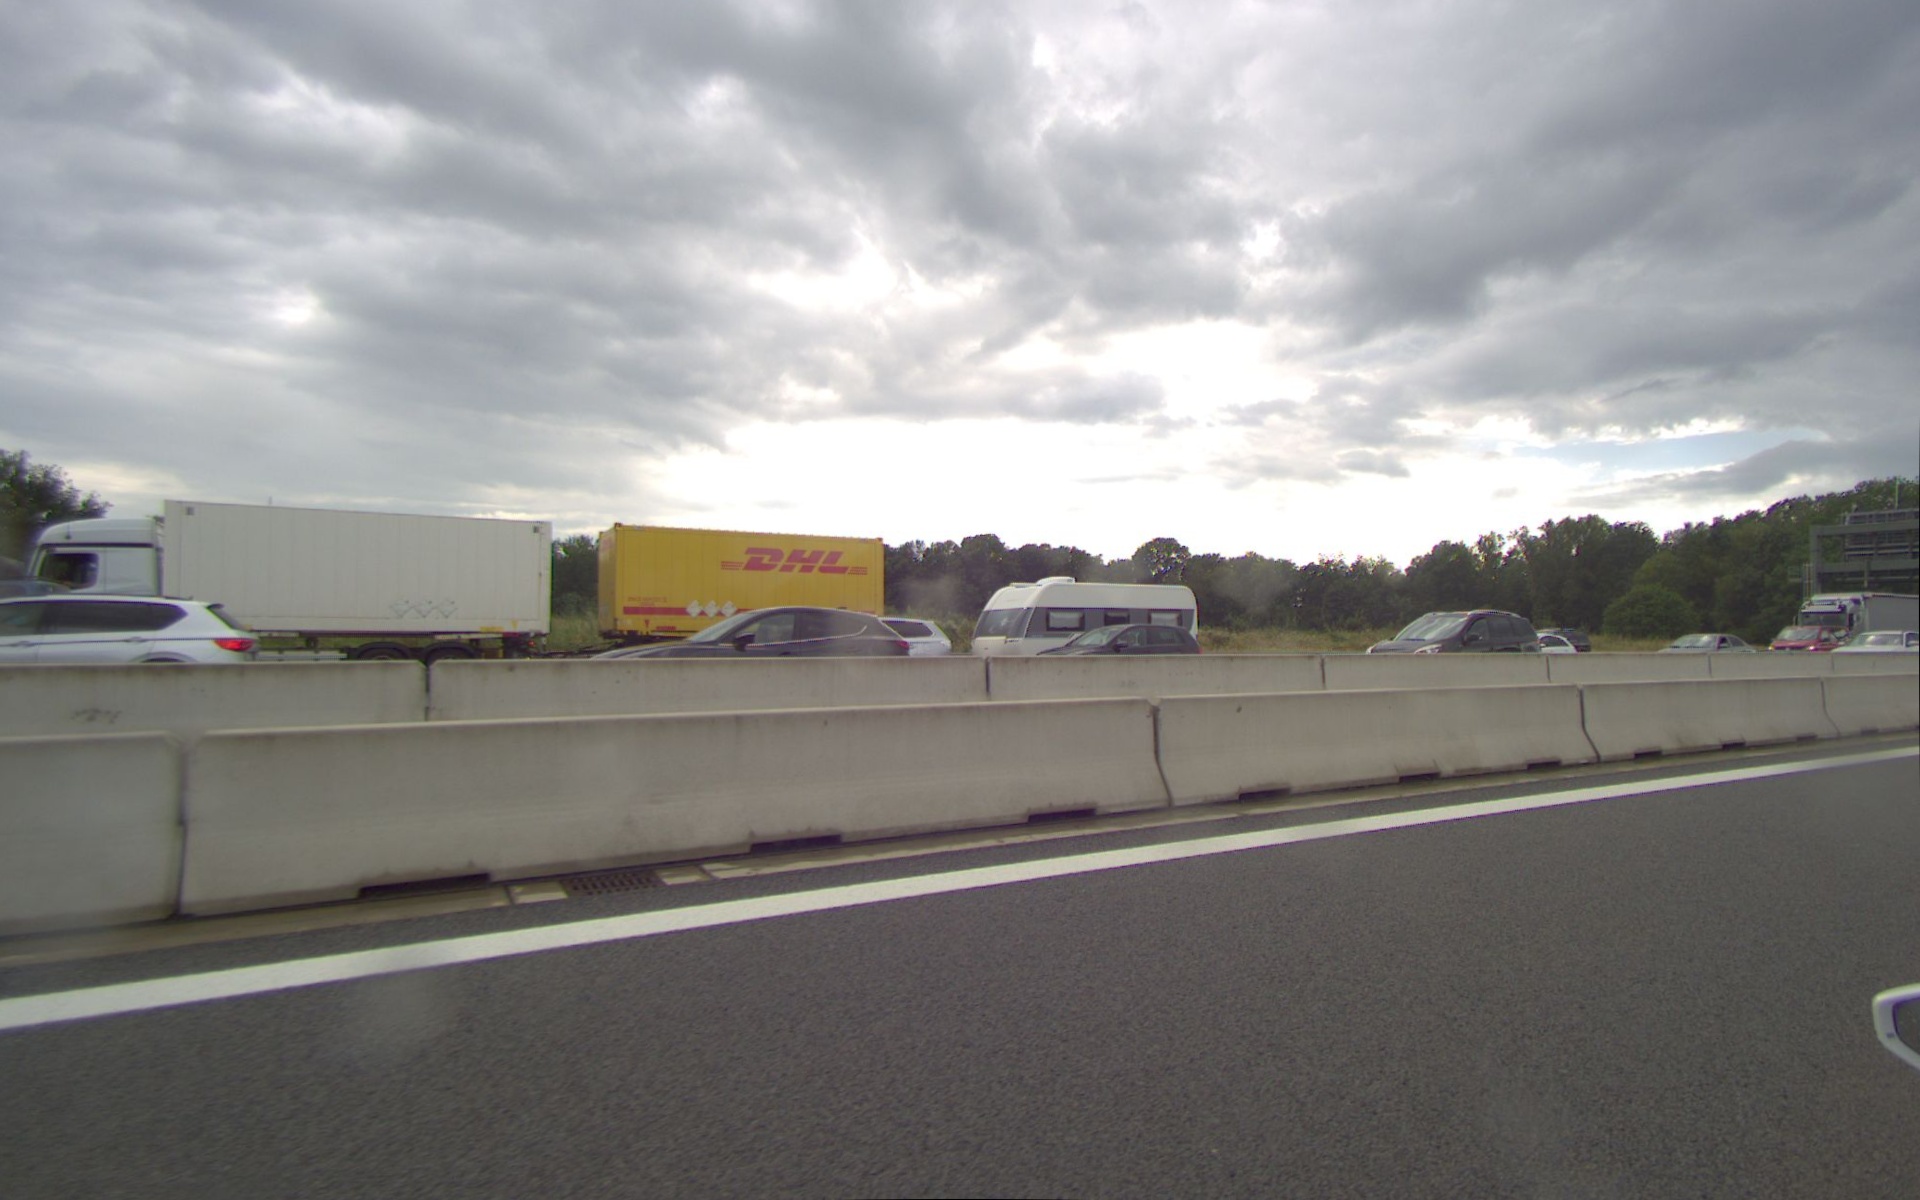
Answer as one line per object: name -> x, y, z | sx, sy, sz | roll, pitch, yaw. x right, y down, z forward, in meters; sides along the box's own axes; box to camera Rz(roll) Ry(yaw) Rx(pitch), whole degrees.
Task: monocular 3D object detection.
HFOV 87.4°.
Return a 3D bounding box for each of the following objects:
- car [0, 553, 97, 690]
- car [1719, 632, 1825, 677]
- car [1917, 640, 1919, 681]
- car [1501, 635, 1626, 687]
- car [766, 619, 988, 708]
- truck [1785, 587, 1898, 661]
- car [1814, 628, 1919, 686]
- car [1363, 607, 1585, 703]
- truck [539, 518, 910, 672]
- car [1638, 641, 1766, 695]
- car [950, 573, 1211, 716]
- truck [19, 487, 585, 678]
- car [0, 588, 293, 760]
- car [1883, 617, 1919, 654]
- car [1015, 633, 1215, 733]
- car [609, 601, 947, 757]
car -> -16.339, 0.274, 14.889 | 5.037, 2.040, 1.984 | 1, 0, -30
car -> 37.333, 2.468, 46.158 | 5.327, 1.898, 1.984 | 1, 0, -30
car -> 47.488, 2.884, 47.508 | 4.703, 1.898, 1.984 | 1, 0, -30
car -> 22.305, 2.212, 37.100 | 4.644, 1.737, 1.984 | 1, 0, -30
car -> -1.839, 1.371, 22.716 | 4.655, 1.795, 1.864 | 1, 0, -30
truck -> 51.768, 1.411, 58.966 | 6.159, 4.111, 3.205 | 1, 0, -30
car -> 30.350, 1.829, 33.032 | 4.814, 1.737, 1.984 | 1, 0, -30
car -> 10.821, 1.104, 21.089 | 4.618, 1.805, 1.984 | 1, 0, -30
truck -> -6.253, -0.017, 27.519 | 9.465, 3.660, 2.865 | 1, 0, -30
car -> 26.302, 2.355, 35.581 | 4.644, 1.737, 1.984 | 1, 0, -30
car -> 3.197, 1.097, 26.126 | 6.487, 3.321, 2.647 | 1, 0, -31
truck -> -14.202, -0.217, 22.974 | 10.188, 3.660, 2.865 | 2, 0, -30
car -> -11.614, 0.888, 13.028 | 4.757, 2.040, 1.984 | 1, 0, -30
car -> 52.634, 1.940, 54.825 | 4.703, 1.898, 1.984 | 1, 0, -30
car -> 3.392, 1.729, 21.942 | 3.953, 1.929, 1.984 | 1, 0, -30
car -> -2.383, 0.939, 13.274 | 3.953, 1.773, 1.984 | 1, 0, -30
